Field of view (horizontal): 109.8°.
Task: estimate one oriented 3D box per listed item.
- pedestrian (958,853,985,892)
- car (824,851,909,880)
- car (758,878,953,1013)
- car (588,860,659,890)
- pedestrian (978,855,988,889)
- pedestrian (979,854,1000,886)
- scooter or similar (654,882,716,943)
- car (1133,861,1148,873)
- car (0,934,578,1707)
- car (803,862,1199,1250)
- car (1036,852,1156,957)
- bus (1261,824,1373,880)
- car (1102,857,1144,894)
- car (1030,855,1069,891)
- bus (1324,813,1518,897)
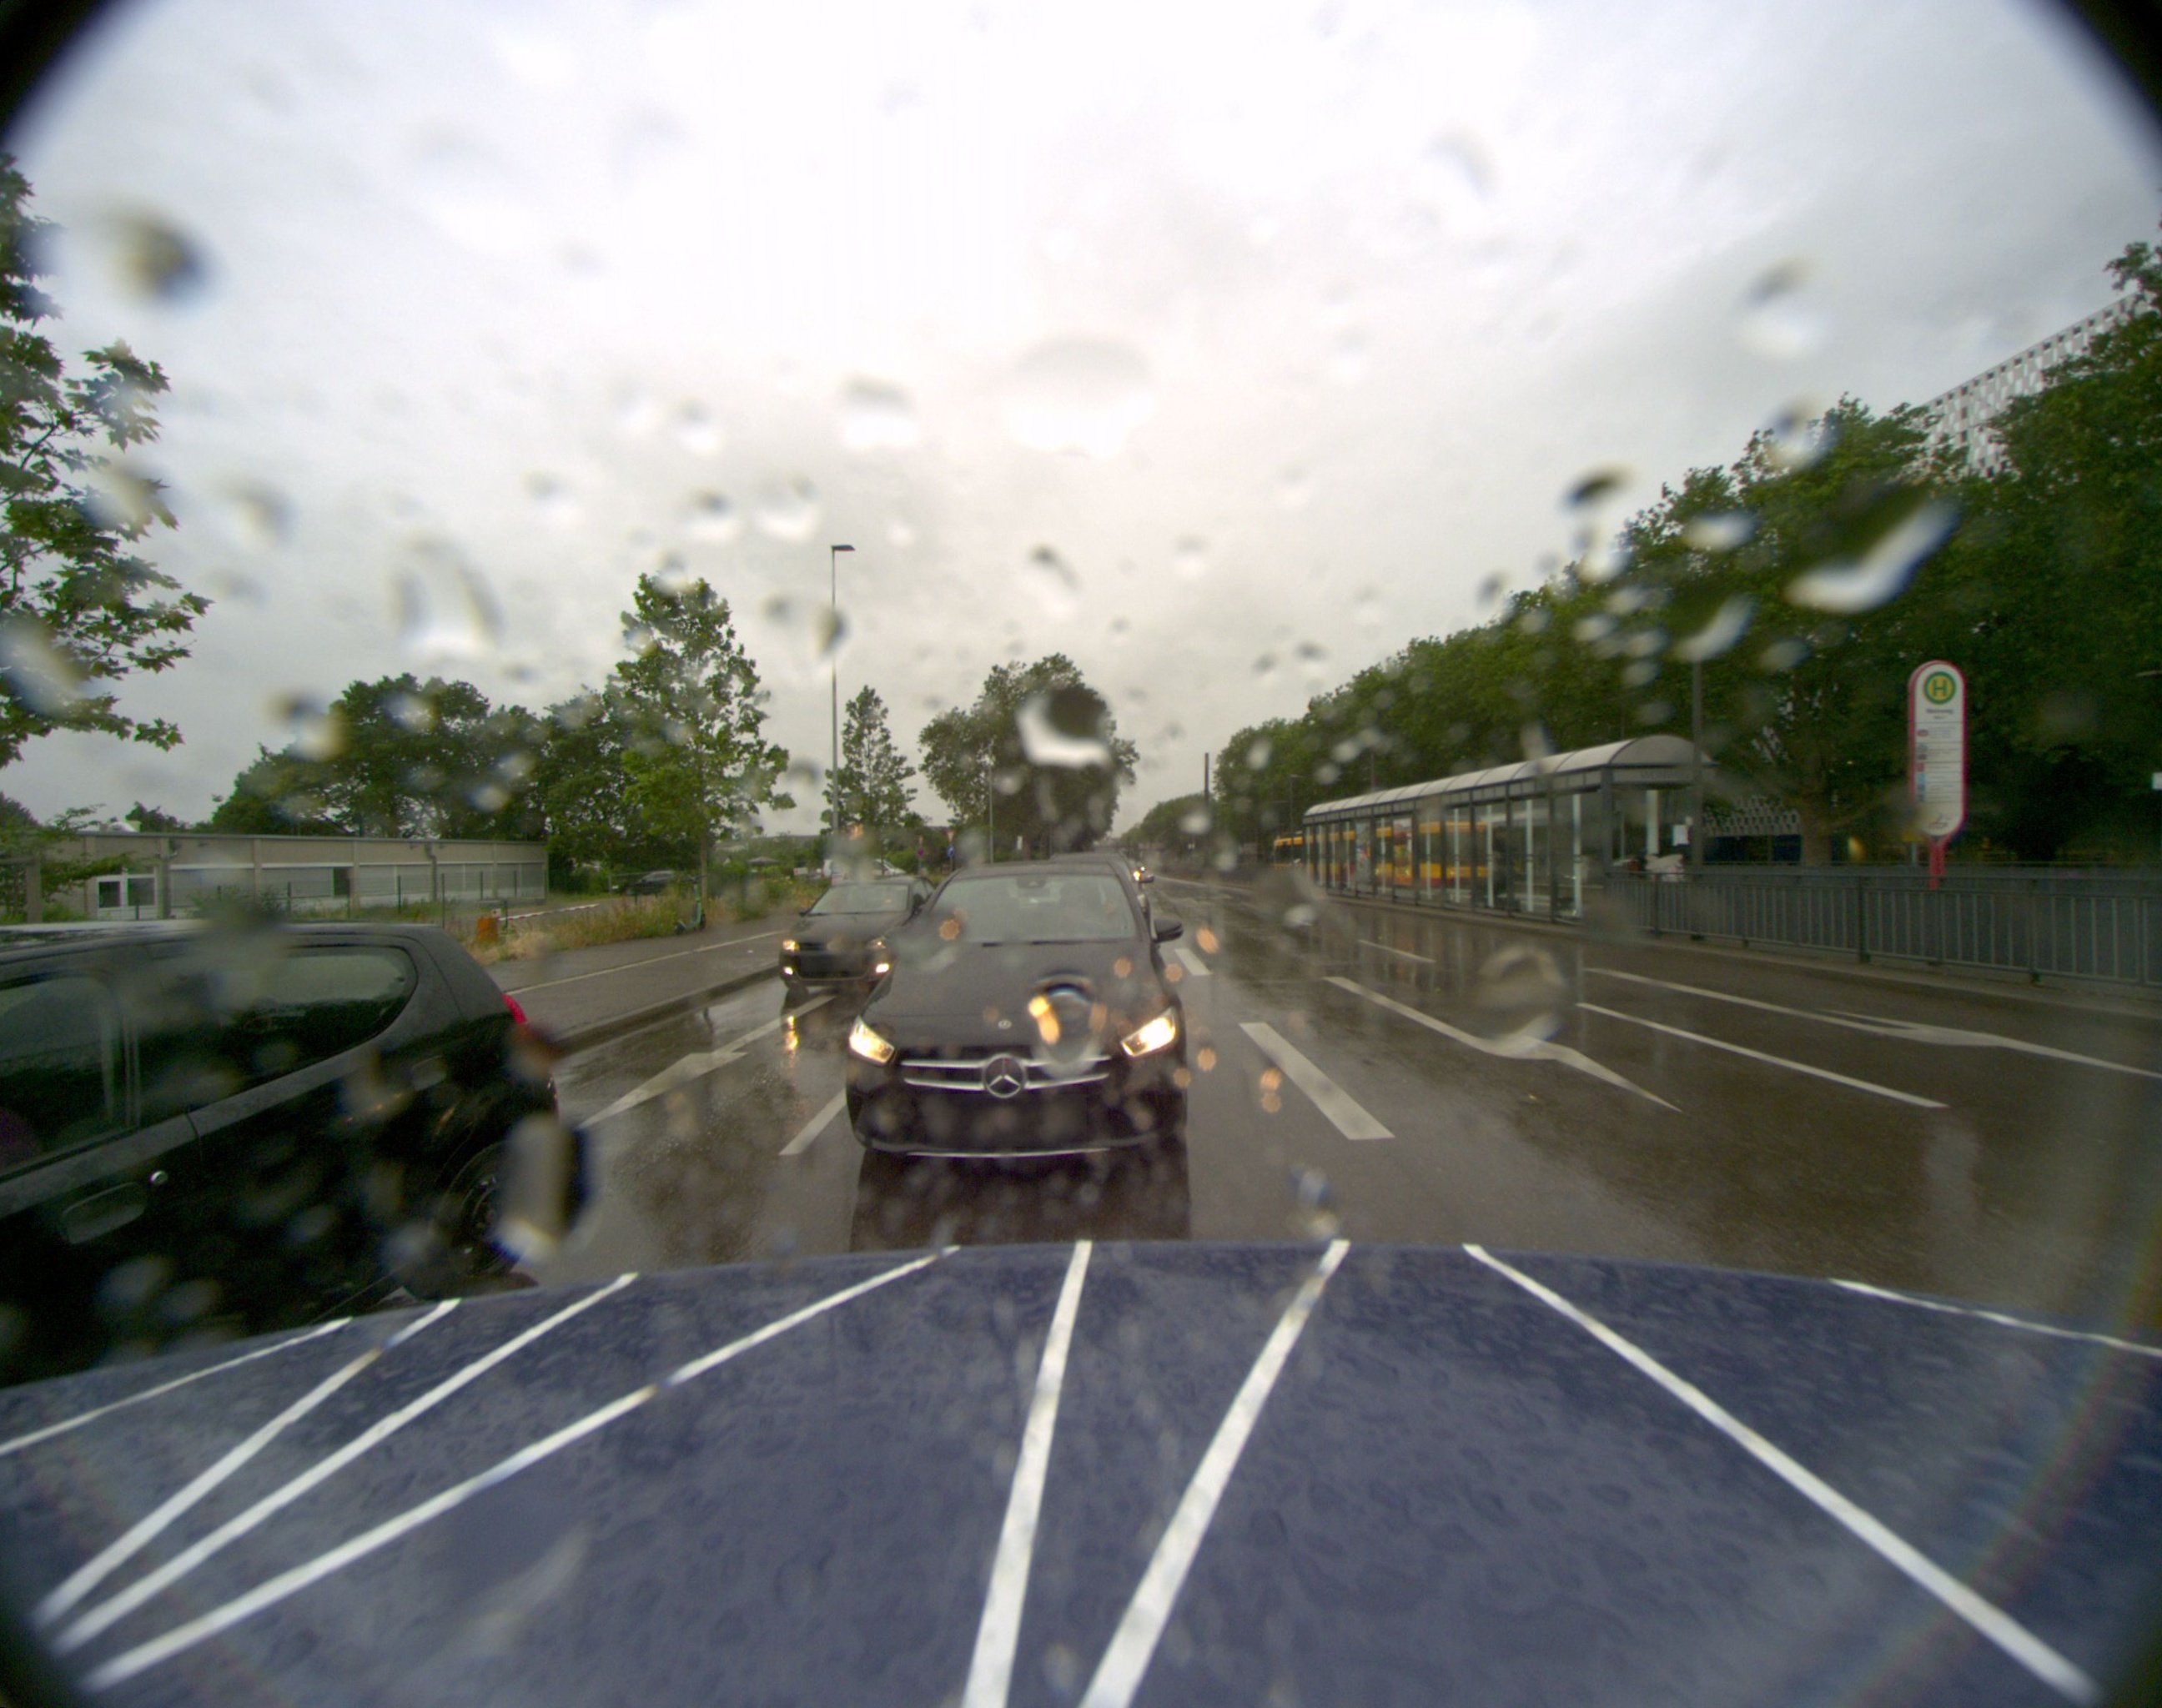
[{"bbox_3d":[-5.027,0.853,35.004,1.082,1.746,0.969,0,1,0],"label":"pedestrian"},{"bbox_3d":[-13.498,0.708,48.072,4.759,1.640,1.999,-2,1,-2],"label":"car"},{"bbox_3d":[-2.948,1.125,10.718,1.633,1.420,3.624,-2,0,0],"label":"car"},{"bbox_3d":[-33.964,1.518,56.523,3.996,2.002,2.000,-2,1,2],"label":"car"},{"bbox_3d":[-4.826,0.889,37.371,0.401,1.652,0.441,1,1,0],"label":"pedestrian"},{"bbox_3d":[-4.880,0.843,40.536,1.025,1.698,0.891,1,1,0],"label":"pedestrian"},{"bbox_3d":[-8.211,1.183,15.812,0.381,1.123,1.777,0,1,-1],"label":"scooter or similar"},{"bbox_3d":[7.649,1.698,98.482,1.766,1.390,4.645,-2,0,2],"label":"car"},{"bbox_3d":[-3.010,1.079,1.460,1.633,1.420,3.624,-2,0,0],"label":"car"},{"bbox_3d":[-0.325,0.921,5.445,1.690,1.578,4.163,-2,1,1],"label":"car"},{"bbox_3d":[0.202,0.722,12.523,1.633,1.420,3.624,-2,0,0],"label":"car"},{"bbox_3d":[16.108,-0.215,53.571,2.939,3.310,15.060,-2,1,-1],"label":"bus"},{"bbox_3d":[2.007,1.008,37.490,1.794,1.597,3.999,-2,1,0],"label":"car"},{"bbox_3d":[-1.525,0.910,37.859,1.698,1.565,3.813,-2,1,1],"label":"car"},{"bbox_3d":[16.236,-0.026,38.457,2.938,3.310,15.060,-2,1,0],"label":"bus"}]
